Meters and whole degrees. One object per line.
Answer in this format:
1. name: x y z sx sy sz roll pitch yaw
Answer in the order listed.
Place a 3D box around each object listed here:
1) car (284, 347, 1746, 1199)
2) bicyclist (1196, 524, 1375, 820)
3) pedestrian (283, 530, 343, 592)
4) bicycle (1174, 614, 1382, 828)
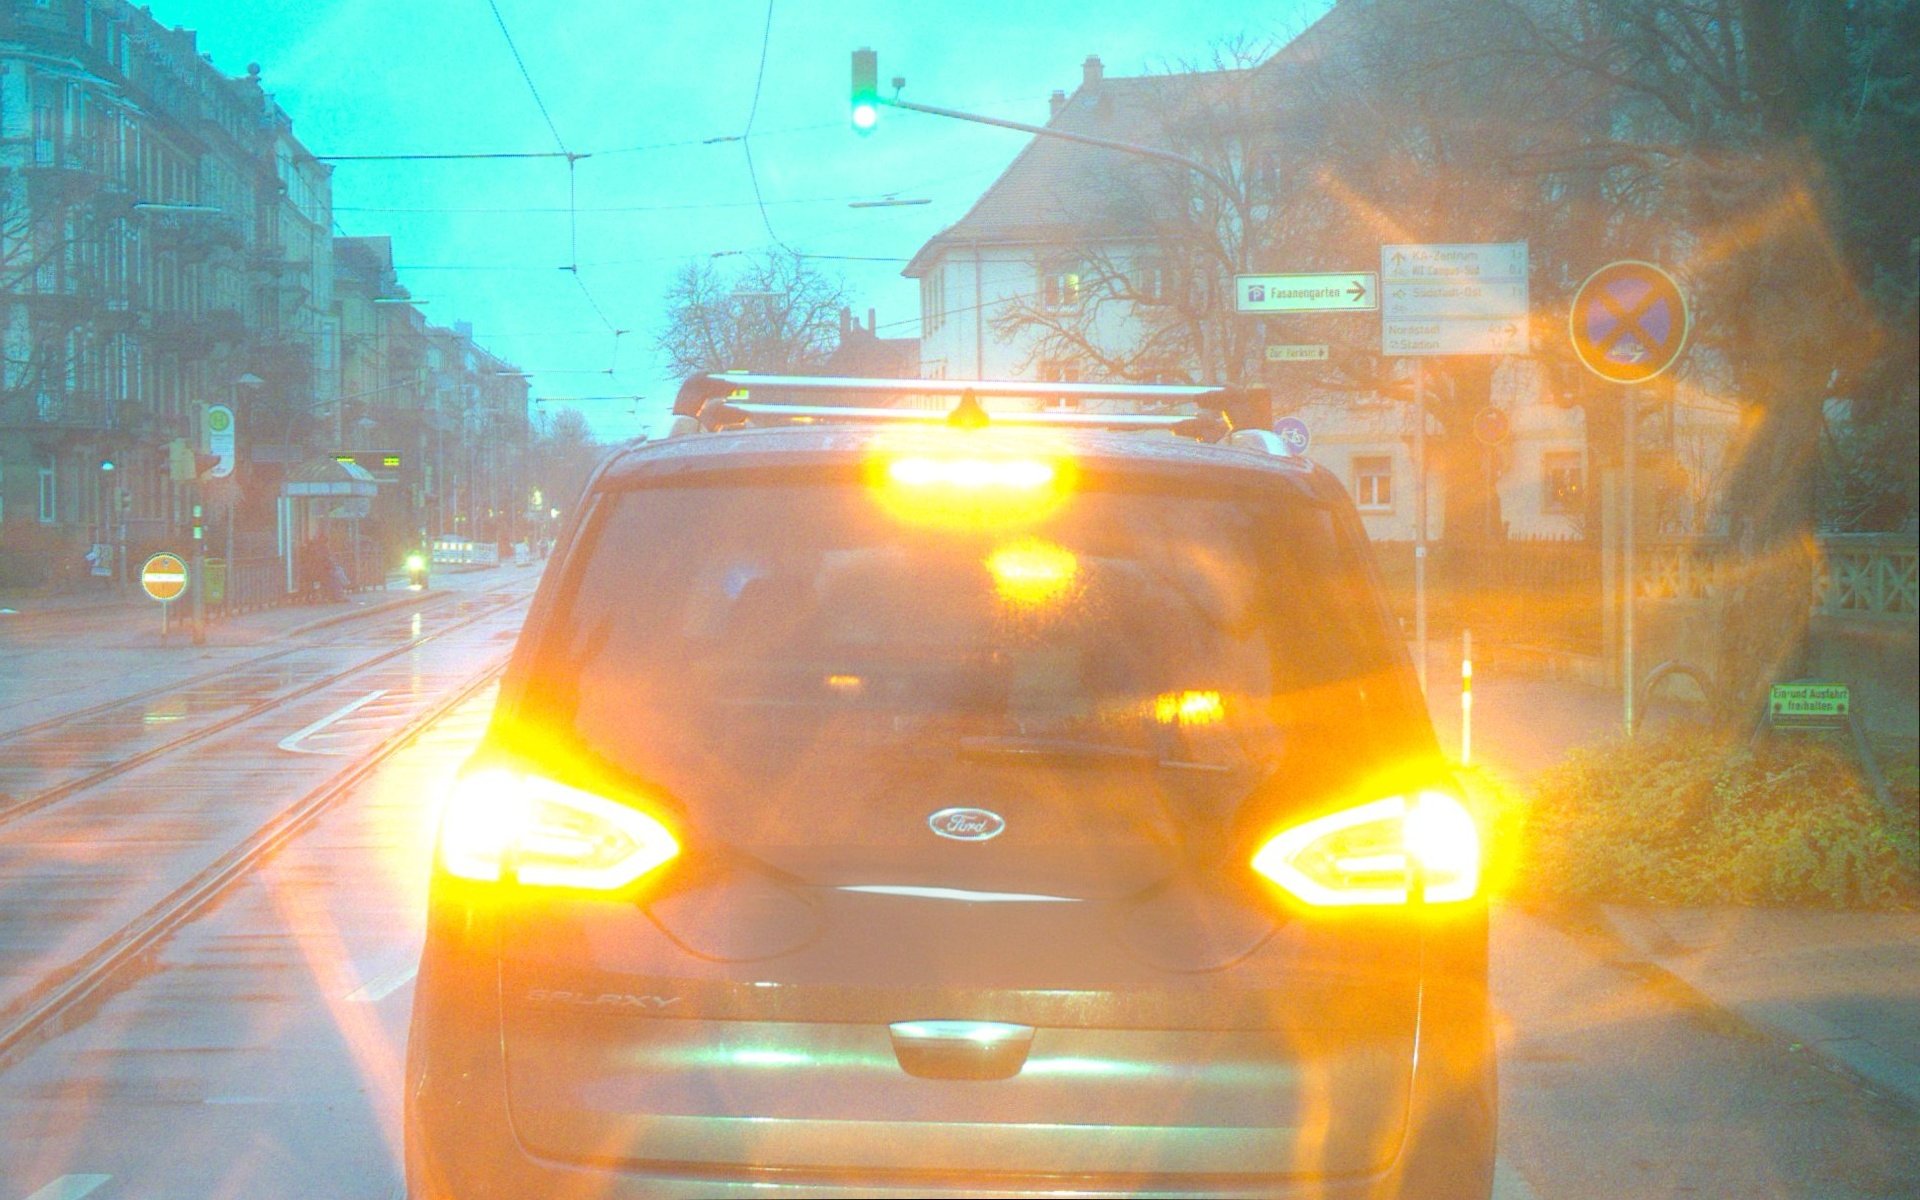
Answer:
1. car: -0.009 0.516 7.347 2.103 1.810 4.661 1 1 -2
2. bicyclist: 1.897 0.404 20.191 0.716 1.657 1.057 3 1 -8
3. pedestrian: -12.783 -0.772 67.957 1.047 1.196 0.885 0 0 -3
4. bicycle: 1.857 0.689 20.351 0.716 1.108 1.942 4 1 -9
